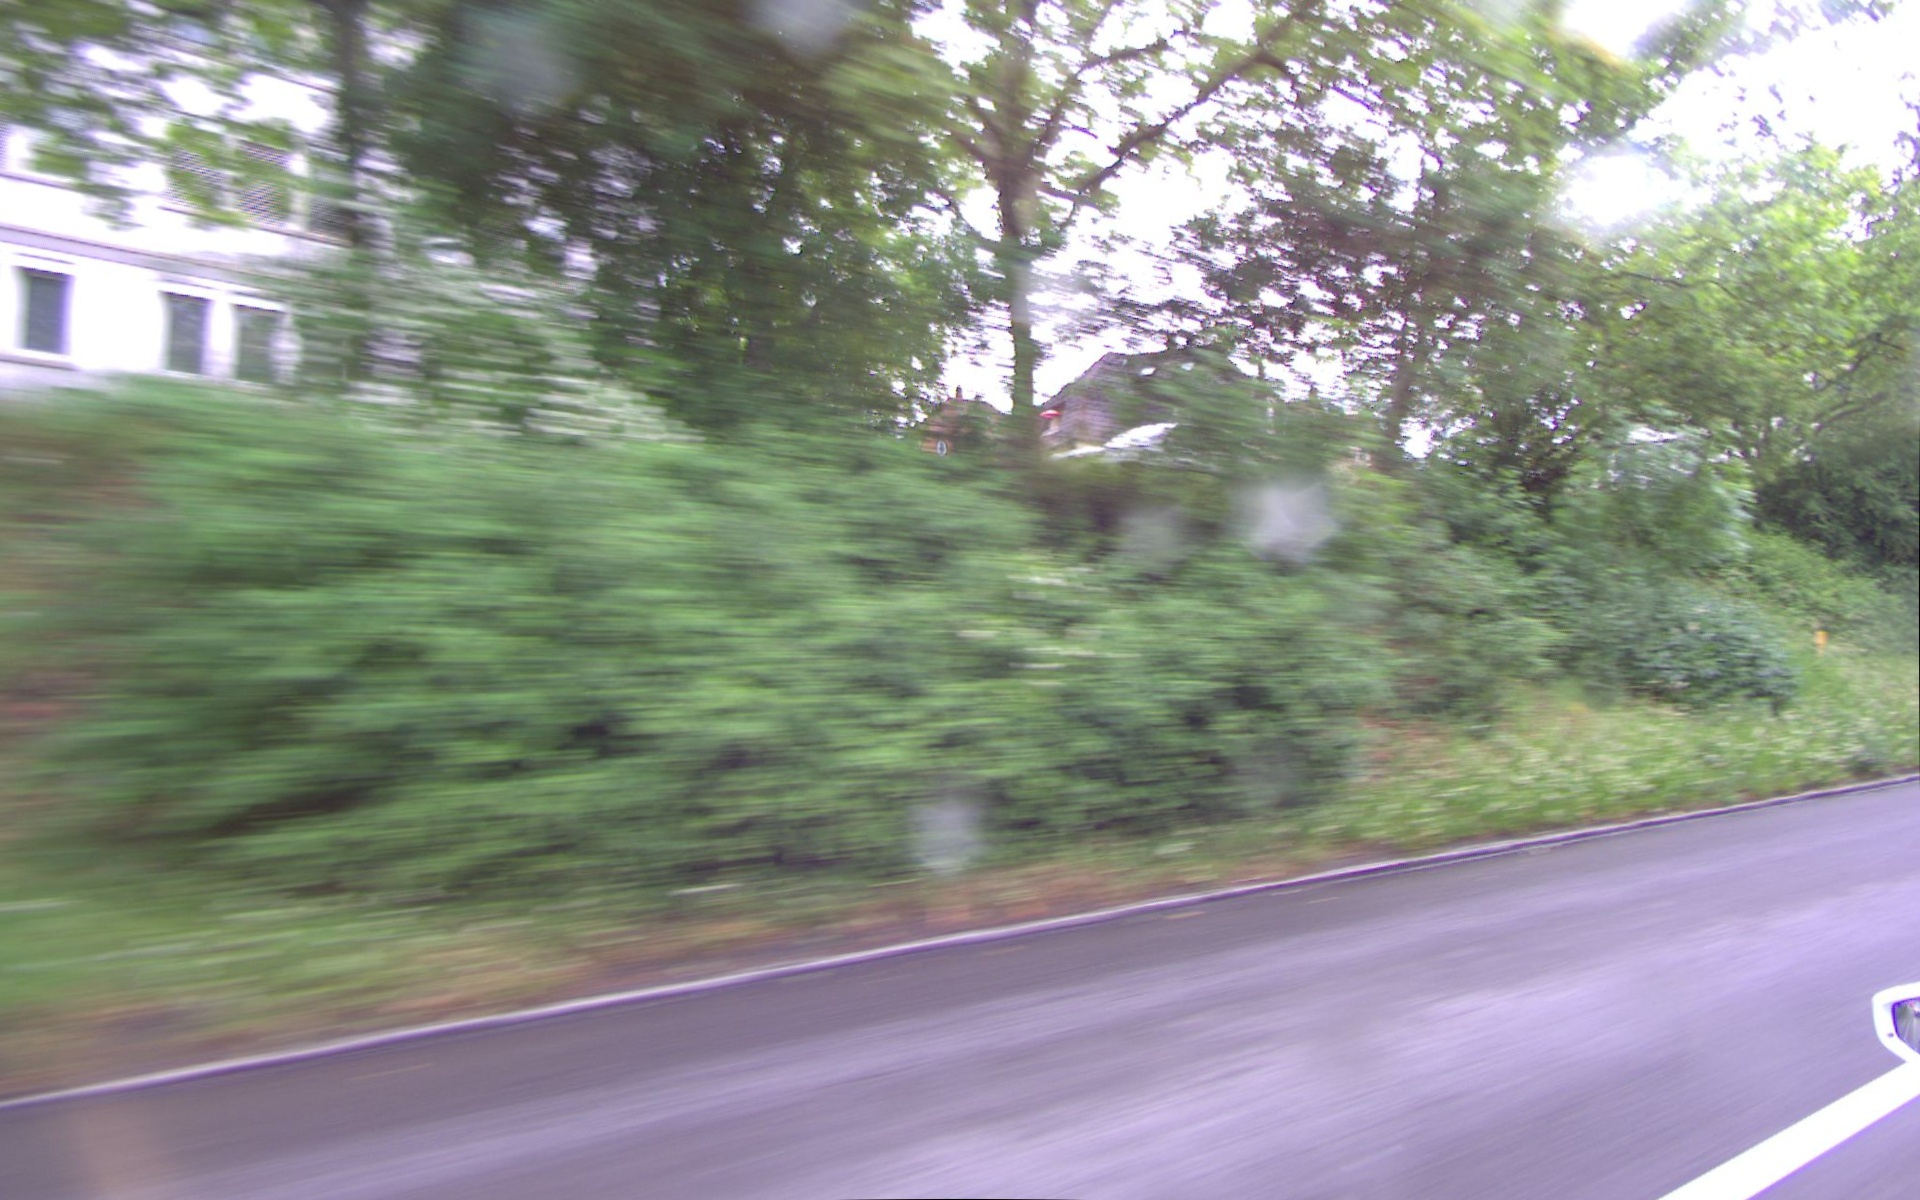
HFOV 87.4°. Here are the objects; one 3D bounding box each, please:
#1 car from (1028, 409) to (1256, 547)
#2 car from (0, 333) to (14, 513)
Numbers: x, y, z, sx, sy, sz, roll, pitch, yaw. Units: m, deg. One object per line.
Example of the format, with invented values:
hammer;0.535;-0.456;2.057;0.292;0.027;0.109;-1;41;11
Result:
car;3.457;-2.149;18.825;3.961;2.040;1.980;2;0;-35
car;-11.588;-1.923;9.126;3.953;1.868;1.984;2;0;-30
